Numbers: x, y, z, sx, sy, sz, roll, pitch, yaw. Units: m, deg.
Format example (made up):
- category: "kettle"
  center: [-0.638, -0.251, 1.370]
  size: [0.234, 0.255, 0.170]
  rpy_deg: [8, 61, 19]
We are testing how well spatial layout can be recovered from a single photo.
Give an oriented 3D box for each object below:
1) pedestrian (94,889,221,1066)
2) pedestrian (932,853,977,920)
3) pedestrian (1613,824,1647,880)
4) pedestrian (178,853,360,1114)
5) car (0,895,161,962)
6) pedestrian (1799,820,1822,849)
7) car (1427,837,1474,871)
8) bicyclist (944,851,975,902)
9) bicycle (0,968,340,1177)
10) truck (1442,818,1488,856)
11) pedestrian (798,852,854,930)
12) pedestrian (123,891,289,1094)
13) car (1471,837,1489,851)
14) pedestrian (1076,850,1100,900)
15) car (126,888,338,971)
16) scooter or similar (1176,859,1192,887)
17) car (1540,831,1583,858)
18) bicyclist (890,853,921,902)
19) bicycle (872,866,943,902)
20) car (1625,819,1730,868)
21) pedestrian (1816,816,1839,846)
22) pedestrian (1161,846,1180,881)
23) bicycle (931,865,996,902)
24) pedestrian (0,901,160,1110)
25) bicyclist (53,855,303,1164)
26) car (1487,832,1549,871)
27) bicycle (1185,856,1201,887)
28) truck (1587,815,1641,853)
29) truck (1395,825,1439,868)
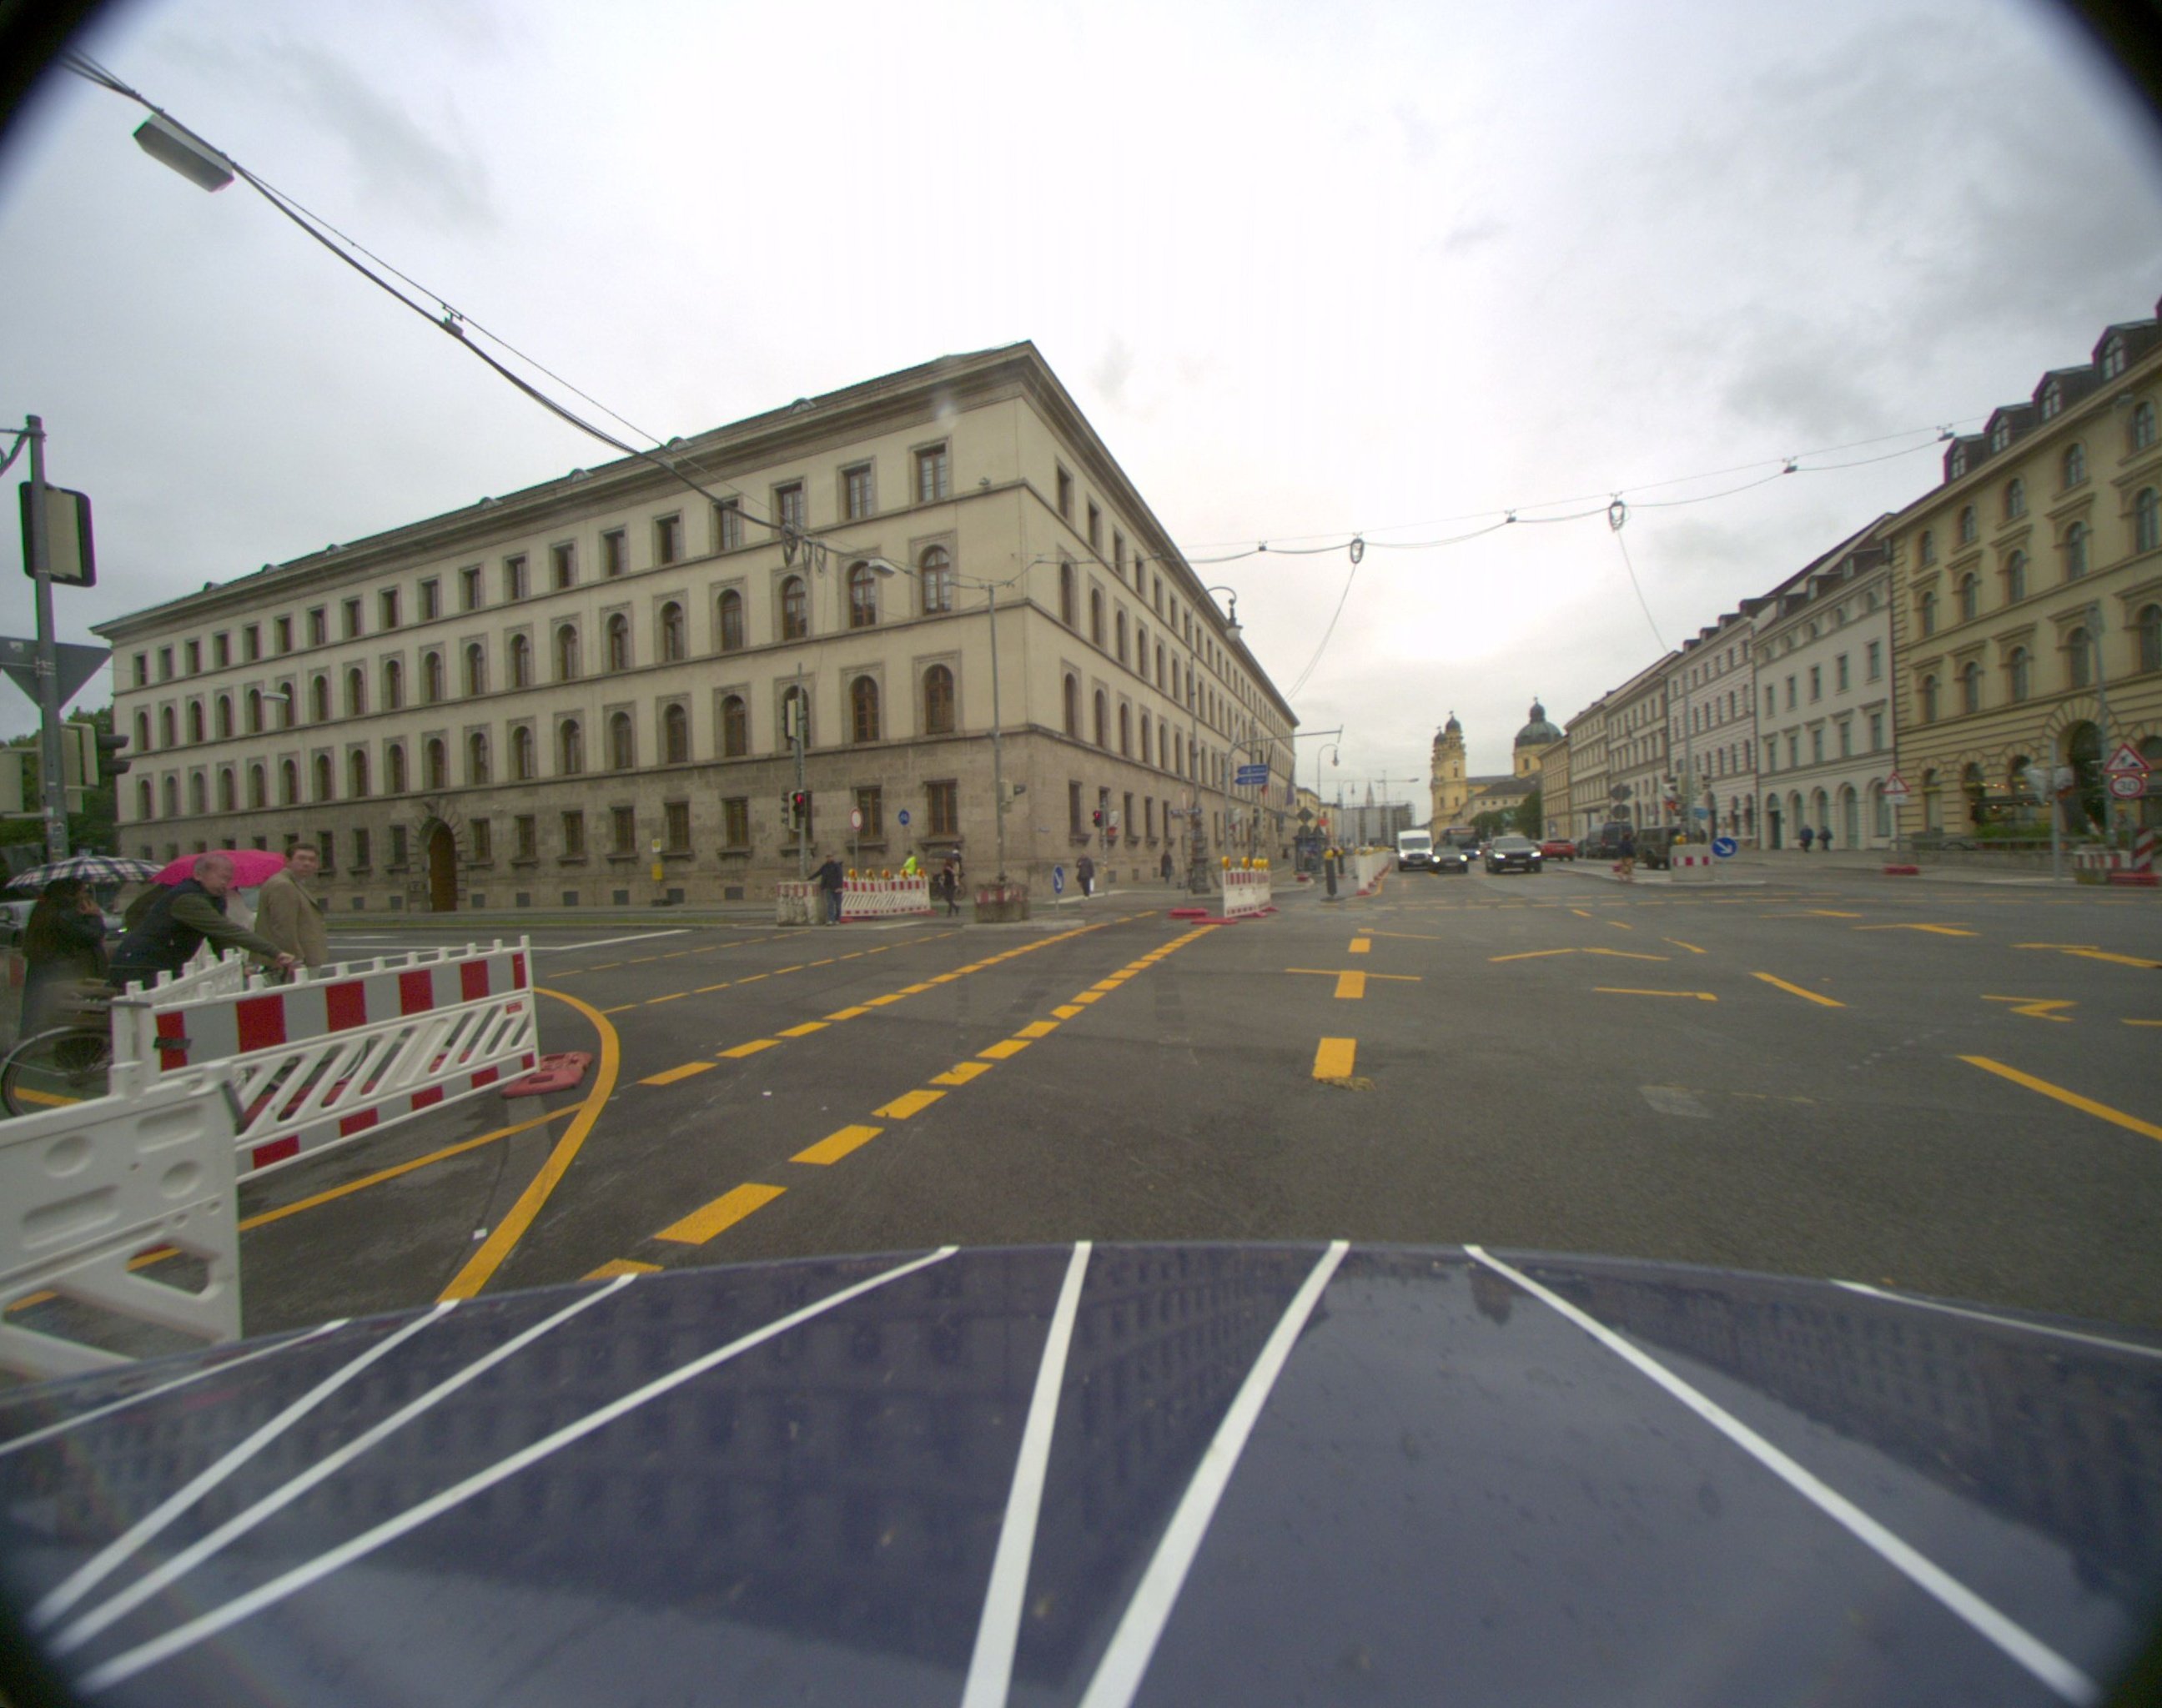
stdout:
- category: "pedestrian"
  center: [-9.031, 1.179, 7.437]
  size: [0.672, 1.611, 0.534]
  rpy_deg: [-2, 2, 24]
- category: "pedestrian"
  center: [-3.472, 0.873, 20.847]
  size: [0.737, 1.762, 0.848]
  rpy_deg: [-2, 2, 31]
- category: "pedestrian"
  center: [17.950, -0.069, 24.845]
  size: [0.734, 1.762, 0.740]
  rpy_deg: [-2, 2, 25]
- category: "pedestrian"
  center: [-6.342, 0.955, 5.957]
  size: [0.639, 1.874, 0.706]
  rpy_deg: [-2, 2, 26]
- category: "car"
  center: [-26.718, 1.935, 19.936]
  size: [4.297, 1.433, 1.925]
  rpy_deg: [-2, 2, 21]
- category: "pedestrian"
  center: [44.905, -1.192, 46.771]
  size: [0.737, 1.761, 0.737]
  rpy_deg: [-2, 1, 21]
- category: "car"
  center: [19.466, -0.030, 40.152]
  size: [1.797, 1.585, 4.005]
  rpy_deg: [-2, 1, 21]
- category: "bicyclist"
  center: [-4.402, 0.813, 27.597]
  size: [0.687, 1.766, 0.802]
  rpy_deg: [-2, 2, 25]
- category: "bicycle"
  center: [-6.104, 1.383, 4.959]
  size: [1.658, 1.006, 0.585]
  rpy_deg: [-4, 2, -26]
- category: "truck"
  center: [33.638, -1.531, 66.816]
  size: [2.984, 2.996, 7.153]
  rpy_deg: [-2, 1, 22]
- category: "pedestrian"
  center: [-5.924, 0.854, 17.674]
  size: [1.041, 1.733, 0.514]
  rpy_deg: [-2, 1, 12]
- category: "pedestrian"
  center: [-7.390, 1.123, 6.438]
  size: [0.540, 1.558, 0.706]
  rpy_deg: [-2, 2, 24]
- category: "car"
  center: [53.919, -1.390, 102.688]
  size: [1.819, 1.710, 4.006]
  rpy_deg: [-2, 0, 23]
- category: "pedestrian"
  center: [0.240, 0.712, 25.821]
  size: [0.738, 1.645, 0.727]
  rpy_deg: [0, 2, 9]
- category: "car"
  center: [-18.081, 1.587, 16.192]
  size: [3.991, 1.495, 1.636]
  rpy_deg: [-3, 1, 21]
- category: "scooter or similar"
  center: [4.573, 0.833, 33.750]
  size: [0.381, 1.138, 1.991]
  rpy_deg: [-3, 1, 16]
- category: "car"
  center: [33.724, -0.670, 53.467]
  size: [1.819, 1.710, 4.006]
  rpy_deg: [-2, 0, 22]
- category: "bicyclist"
  center: [-6.553, 0.874, 28.405]
  size: [0.687, 1.739, 0.801]
  rpy_deg: [-2, 2, 17]
- category: "bicycle"
  center: [-6.491, 1.126, 28.400]
  size: [2.444, 1.235, 0.790]
  rpy_deg: [-3, 2, 17]
- category: "car"
  center: [26.913, -0.476, 34.497]
  size: [2.241, 2.002, 4.455]
  rpy_deg: [-2, 0, 17]
- category: "pedestrian"
  center: [45.674, -1.415, 46.474]
  size: [0.737, 1.761, 0.737]
  rpy_deg: [-2, 1, 21]
- category: "pedestrian"
  center: [4.380, 0.463, 37.177]
  size: [0.737, 1.645, 0.728]
  rpy_deg: [1, 2, 24]
- category: "bicycle"
  center: [-4.267, 1.068, 27.549]
  size: [2.193, 1.235, 0.790]
  rpy_deg: [-2, 2, 26]
- category: "pedestrian"
  center: [-8.406, 1.204, 6.317]
  size: [0.680, 1.558, 0.706]
  rpy_deg: [-2, 2, 24]
- category: "bicyclist"
  center: [-5.921, 0.954, 5.046]
  size: [0.800, 1.843, 0.566]
  rpy_deg: [-4, 2, -26]
- category: "car"
  center: [20.683, -0.145, 36.120]
  size: [1.995, 1.674, 4.006]
  rpy_deg: [-2, 0, 22]
- category: "bicycle"
  center: [4.956, 0.752, 33.565]
  size: [0.381, 1.235, 1.991]
  rpy_deg: [-2, 1, 16]
- category: "truck"
  center: [39.917, -1.450, 57.045]
  size: [2.217, 2.647, 4.790]
  rpy_deg: [-2, 0, 22]
- category: "truck"
  center: [20.843, -0.489, 47.382]
  size: [2.112, 2.466, 5.867]
  rpy_deg: [-2, 0, 21]
